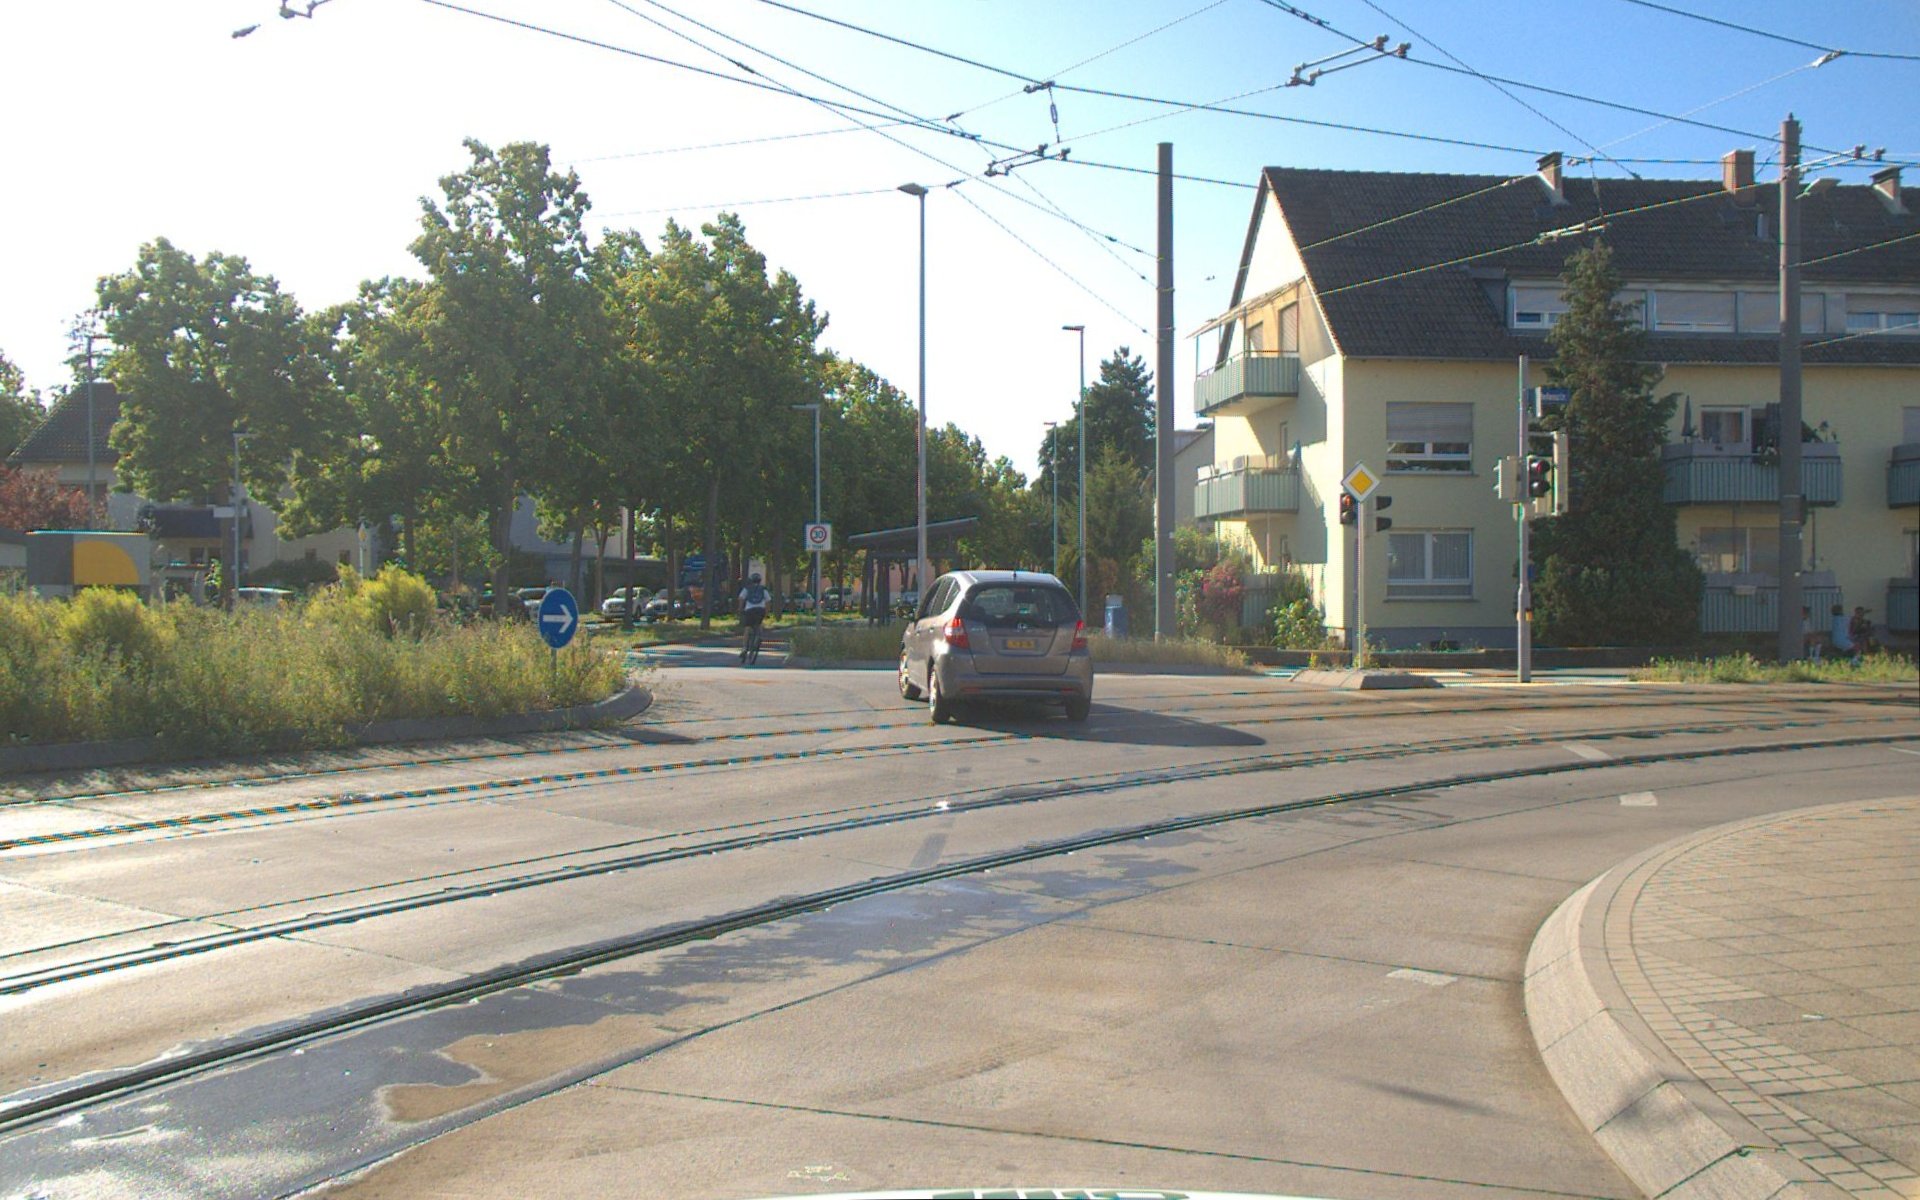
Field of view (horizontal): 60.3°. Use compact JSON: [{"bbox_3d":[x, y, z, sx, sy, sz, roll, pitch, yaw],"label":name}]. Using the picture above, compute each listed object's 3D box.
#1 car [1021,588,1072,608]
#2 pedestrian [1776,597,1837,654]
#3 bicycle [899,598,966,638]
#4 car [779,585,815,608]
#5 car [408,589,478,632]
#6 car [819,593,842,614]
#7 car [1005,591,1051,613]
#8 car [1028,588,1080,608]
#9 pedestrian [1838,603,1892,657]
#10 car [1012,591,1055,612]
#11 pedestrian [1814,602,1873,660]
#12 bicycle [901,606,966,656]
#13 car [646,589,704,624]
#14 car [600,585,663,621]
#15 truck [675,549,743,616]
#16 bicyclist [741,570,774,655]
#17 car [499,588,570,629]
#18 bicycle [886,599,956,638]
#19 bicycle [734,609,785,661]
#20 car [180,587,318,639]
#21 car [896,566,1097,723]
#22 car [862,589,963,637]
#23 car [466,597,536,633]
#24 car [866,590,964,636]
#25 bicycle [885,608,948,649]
[{"bbox_3d":[5.984,-0.124,114.447,3.444,1.301,1.577,1,0,0],"label":"car"},{"bbox_3d":[16.149,0.481,31.565,0.673,1.065,0.818,0,0,-8],"label":"pedestrian"},{"bbox_3d":[-0.771,0.489,45.522,1.804,1.045,0.688,1,0,-3],"label":"bicycle"},{"bbox_3d":[-12.560,-0.270,127.785,1.951,1.729,4.221,1,0,5],"label":"car"},{"bbox_3d":[-19.299,0.372,61.875,1.765,1.490,3.796,1,0,-7],"label":"car"},{"bbox_3d":[-10.978,0.270,140.457,1.613,1.677,3.569,1,0,1],"label":"car"},{"bbox_3d":[5.097,0.150,124.405,3.444,1.560,1.577,1,0,0],"label":"car"},{"bbox_3d":[6.465,-0.157,113.769,3.444,1.318,1.577,1,0,0],"label":"car"},{"bbox_3d":[17.529,0.585,32.050,0.587,1.023,0.717,1,0,-30],"label":"pedestrian"},{"bbox_3d":[5.981,0.124,135.031,3.444,1.560,1.577,1,0,0],"label":"car"},{"bbox_3d":[16.962,0.590,31.752,0.620,1.083,0.808,1,0,-39],"label":"pedestrian"},{"bbox_3d":[-0.698,0.799,42.727,1.632,1.229,0.688,1,0,-3],"label":"bicycle"},{"bbox_3d":[-13.943,0.299,81.090,1.792,1.608,4.443,1,0,4],"label":"car"},{"bbox_3d":[-17.707,0.145,89.399,1.951,1.804,5.063,1,0,5],"label":"car"},{"bbox_3d":[-16.142,-1.143,107.058,3.006,4.062,8.009,1,1,1],"label":"truck"},{"bbox_3d":[-4.251,0.272,34.719,0.594,1.744,0.541,0,-4,-19],"label":"bicyclist"},{"bbox_3d":[-18.697,0.365,72.858,1.952,1.729,4.218,1,0,1],"label":"car"},{"bbox_3d":[-1.096,0.509,46.414,1.933,1.045,0.696,1,0,-3],"label":"bicycle"},{"bbox_3d":[-4.216,0.745,34.648,0.754,1.055,1.525,1,-2,-19],"label":"bicycle"},{"bbox_3d":[-25.025,0.438,58.292,3.953,1.724,2.001,1,0,2],"label":"car"},{"bbox_3d":[0.300,0.393,18.318,1.656,1.517,3.908,0,2,-7],"label":"car"},{"bbox_3d":[-1.647,0.453,58.042,3.444,1.560,1.578,1,0,1],"label":"car"},{"bbox_3d":[-18.836,0.593,68.047,1.922,1.347,3.998,1,0,-3],"label":"car"},{"bbox_3d":[-1.608,0.450,59.803,3.444,1.560,1.578,1,0,1],"label":"car"},{"bbox_3d":[-1.163,0.747,43.996,1.656,1.045,0.599,1,0,-3],"label":"bicycle"}]
